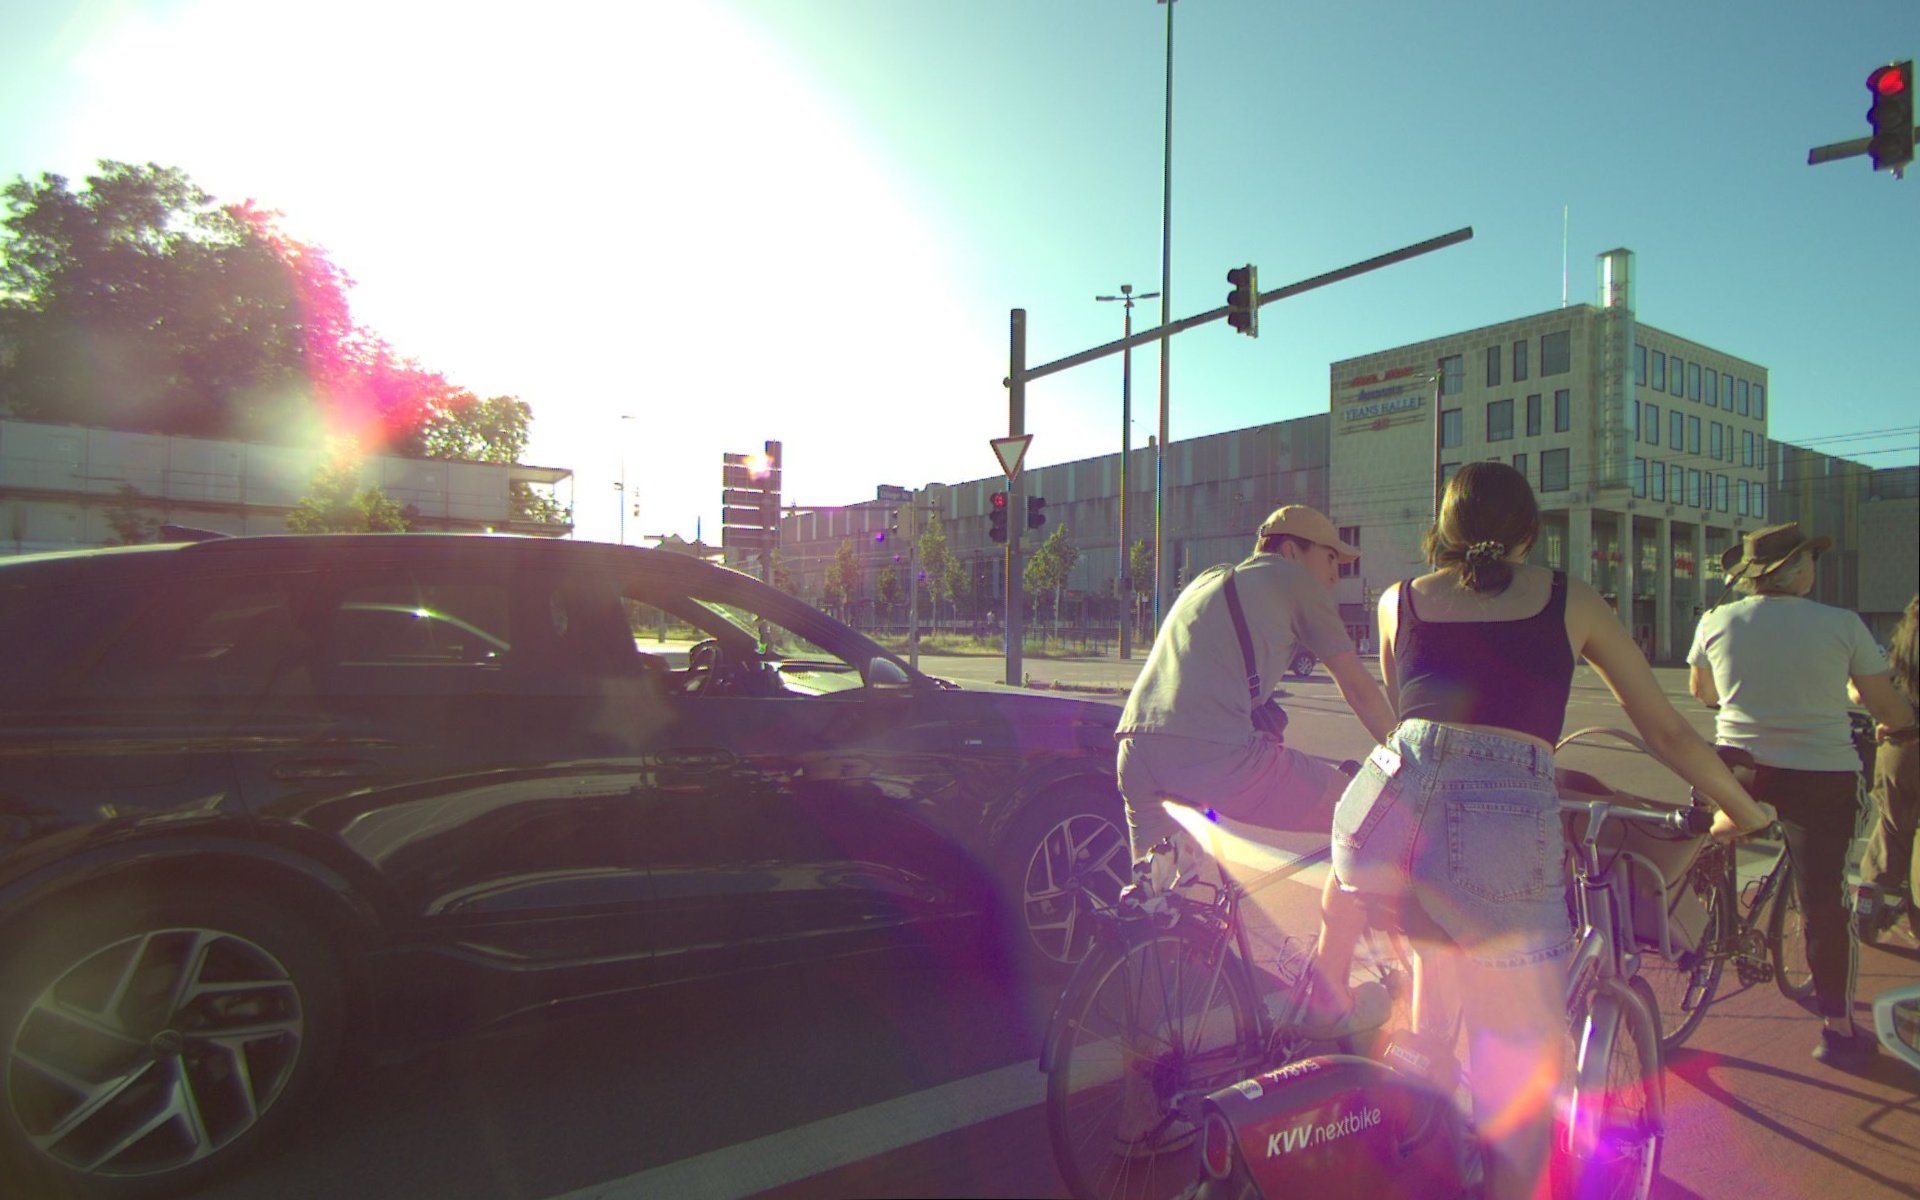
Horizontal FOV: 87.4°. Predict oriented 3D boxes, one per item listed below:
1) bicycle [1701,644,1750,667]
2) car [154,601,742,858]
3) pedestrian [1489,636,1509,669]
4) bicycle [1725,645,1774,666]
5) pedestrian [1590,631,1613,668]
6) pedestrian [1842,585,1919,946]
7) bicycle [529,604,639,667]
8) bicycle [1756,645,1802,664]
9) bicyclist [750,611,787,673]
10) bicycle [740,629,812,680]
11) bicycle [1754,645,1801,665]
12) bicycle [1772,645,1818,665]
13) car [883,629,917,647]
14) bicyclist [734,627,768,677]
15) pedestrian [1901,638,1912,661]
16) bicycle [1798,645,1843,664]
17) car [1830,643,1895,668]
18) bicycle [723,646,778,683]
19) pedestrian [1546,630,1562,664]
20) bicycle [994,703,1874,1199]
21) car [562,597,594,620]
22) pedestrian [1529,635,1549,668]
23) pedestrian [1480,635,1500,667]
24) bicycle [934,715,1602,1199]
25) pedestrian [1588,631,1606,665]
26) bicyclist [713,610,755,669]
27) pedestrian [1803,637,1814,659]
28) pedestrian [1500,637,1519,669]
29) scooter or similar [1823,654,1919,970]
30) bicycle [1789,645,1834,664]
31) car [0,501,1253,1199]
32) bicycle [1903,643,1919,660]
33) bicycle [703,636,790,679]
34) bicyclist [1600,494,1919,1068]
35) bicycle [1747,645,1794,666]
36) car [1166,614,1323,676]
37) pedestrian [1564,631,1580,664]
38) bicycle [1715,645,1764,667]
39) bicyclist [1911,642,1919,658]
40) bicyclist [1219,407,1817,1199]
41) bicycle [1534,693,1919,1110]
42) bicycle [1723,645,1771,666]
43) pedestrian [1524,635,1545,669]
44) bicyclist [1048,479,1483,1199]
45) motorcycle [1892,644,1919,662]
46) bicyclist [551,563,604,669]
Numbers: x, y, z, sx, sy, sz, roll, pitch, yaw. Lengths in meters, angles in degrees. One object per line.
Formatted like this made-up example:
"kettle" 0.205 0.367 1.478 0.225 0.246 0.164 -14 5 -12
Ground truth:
"bicycle" 45.752 3.306 60.082 0.605 1.238 2.295 1 -1 -31
"car" -3.593 0.791 7.493 3.562 1.505 1.485 1 0 -30
"pedestrian" 32.152 3.143 59.866 0.710 1.910 0.779 2 0 -36
"bicycle" 48.687 3.406 61.958 0.605 1.238 2.295 1 -1 -31
"pedestrian" 36.925 2.849 57.842 0.767 2.040 0.876 2 0 -41
"pedestrian" 4.625 0.765 4.804 0.568 1.654 0.543 2 0 -45
"bicycle" -11.371 1.051 30.433 3.047 1.835 0.835 0 1 -32
"bicycle" 54.271 3.600 66.565 0.605 1.238 2.295 1 -1 -31
"bicyclist" -4.606 1.011 24.124 0.706 1.456 0.492 2 0 -34
"bicycle" -4.438 1.306 24.244 1.633 1.170 0.492 2 0 -35
"bicycle" 52.891 3.550 65.017 0.605 1.238 2.295 1 -1 -31
"bicycle" 55.509 3.639 66.829 0.605 1.238 2.295 1 -1 -31
"car" -6.299 3.964 104.941 1.643 1.606 3.871 2 0 -36
"bicyclist" -8.836 2.184 42.492 0.985 2.040 1.088 2 0 -40
"pedestrian" 71.087 3.695 75.455 0.579 1.702 0.516 1 1 -43
"bicycle" 59.813 3.786 69.852 0.605 1.238 2.295 1 -1 -31
"car" 49.773 3.081 55.408 3.956 1.359 1.621 2 -4 -32
"bicycle" -8.901 2.710 42.583 0.962 1.388 2.930 2 0 -40
"pedestrian" 34.332 2.706 58.049 0.705 1.910 0.785 2 0 33
"bicycle" 0.978 0.873 1.871 1.811 1.234 0.612 1 0 -33
"car" -32.947 0.726 86.509 1.785 1.908 3.964 2 0 -33
"pedestrian" 34.397 3.059 59.688 0.710 1.910 0.779 2 0 -36
"pedestrian" 32.402 3.126 61.393 0.710 1.910 0.779 2 0 -36
"bicycle" 0.933 0.955 2.768 1.949 1.124 0.643 1 0 -33
"pedestrian" 35.863 2.709 56.582 0.784 1.868 0.863 0 -1 28
"bicyclist" -8.138 1.405 36.186 1.078 2.040 0.961 2 0 15
"pedestrian" 64.614 3.652 76.488 0.602 1.702 0.549 1 0 -40
"pedestrian" 33.214 3.180 60.688 0.780 1.910 0.709 2 0 -37
"scooter or similar" 4.484 0.929 4.712 1.186 1.311 0.541 2 0 -45
"bicycle" 58.842 3.754 69.427 0.605 1.238 2.295 1 -1 -31
"car" -1.161 0.634 3.868 4.630 1.656 1.760 1 0 -32
"bicycle" 69.606 3.759 72.737 1.777 1.223 0.511 1 0 27
"bicycle" -7.649 2.055 36.048 2.905 1.388 0.970 2 0 16
"bicyclist" 2.862 0.559 3.551 0.856 1.743 0.657 2 0 -30
"bicycle" 51.267 3.493 63.550 0.605 1.238 2.295 1 -1 -31
"car" 7.723 1.227 27.287 3.835 1.606 1.653 1 -1 -17
"pedestrian" 35.620 2.745 58.423 0.784 1.868 0.862 0 -1 32
"bicycle" 46.954 3.345 60.526 0.605 1.238 2.295 1 -1 -31
"bicyclist" 69.470 3.622 72.817 0.614 1.099 0.511 1 0 29
"bicyclist" 1.048 0.536 1.910 0.866 1.600 0.638 1 0 -33
"bicycle" 2.871 0.964 3.677 1.810 1.171 0.482 2 0 -31
"bicycle" 48.037 3.382 61.337 0.605 1.238 2.295 1 -1 -31
"pedestrian" 33.387 3.021 58.375 0.710 1.910 0.779 2 0 -36
"bicyclist" 0.796 0.561 2.671 0.833 1.627 0.712 1 0 -32
"motorcycle" 70.728 3.931 74.855 0.508 1.223 1.786 1 0 -44
"bicyclist" -11.542 0.483 30.277 1.292 3.144 0.835 2 0 -32
